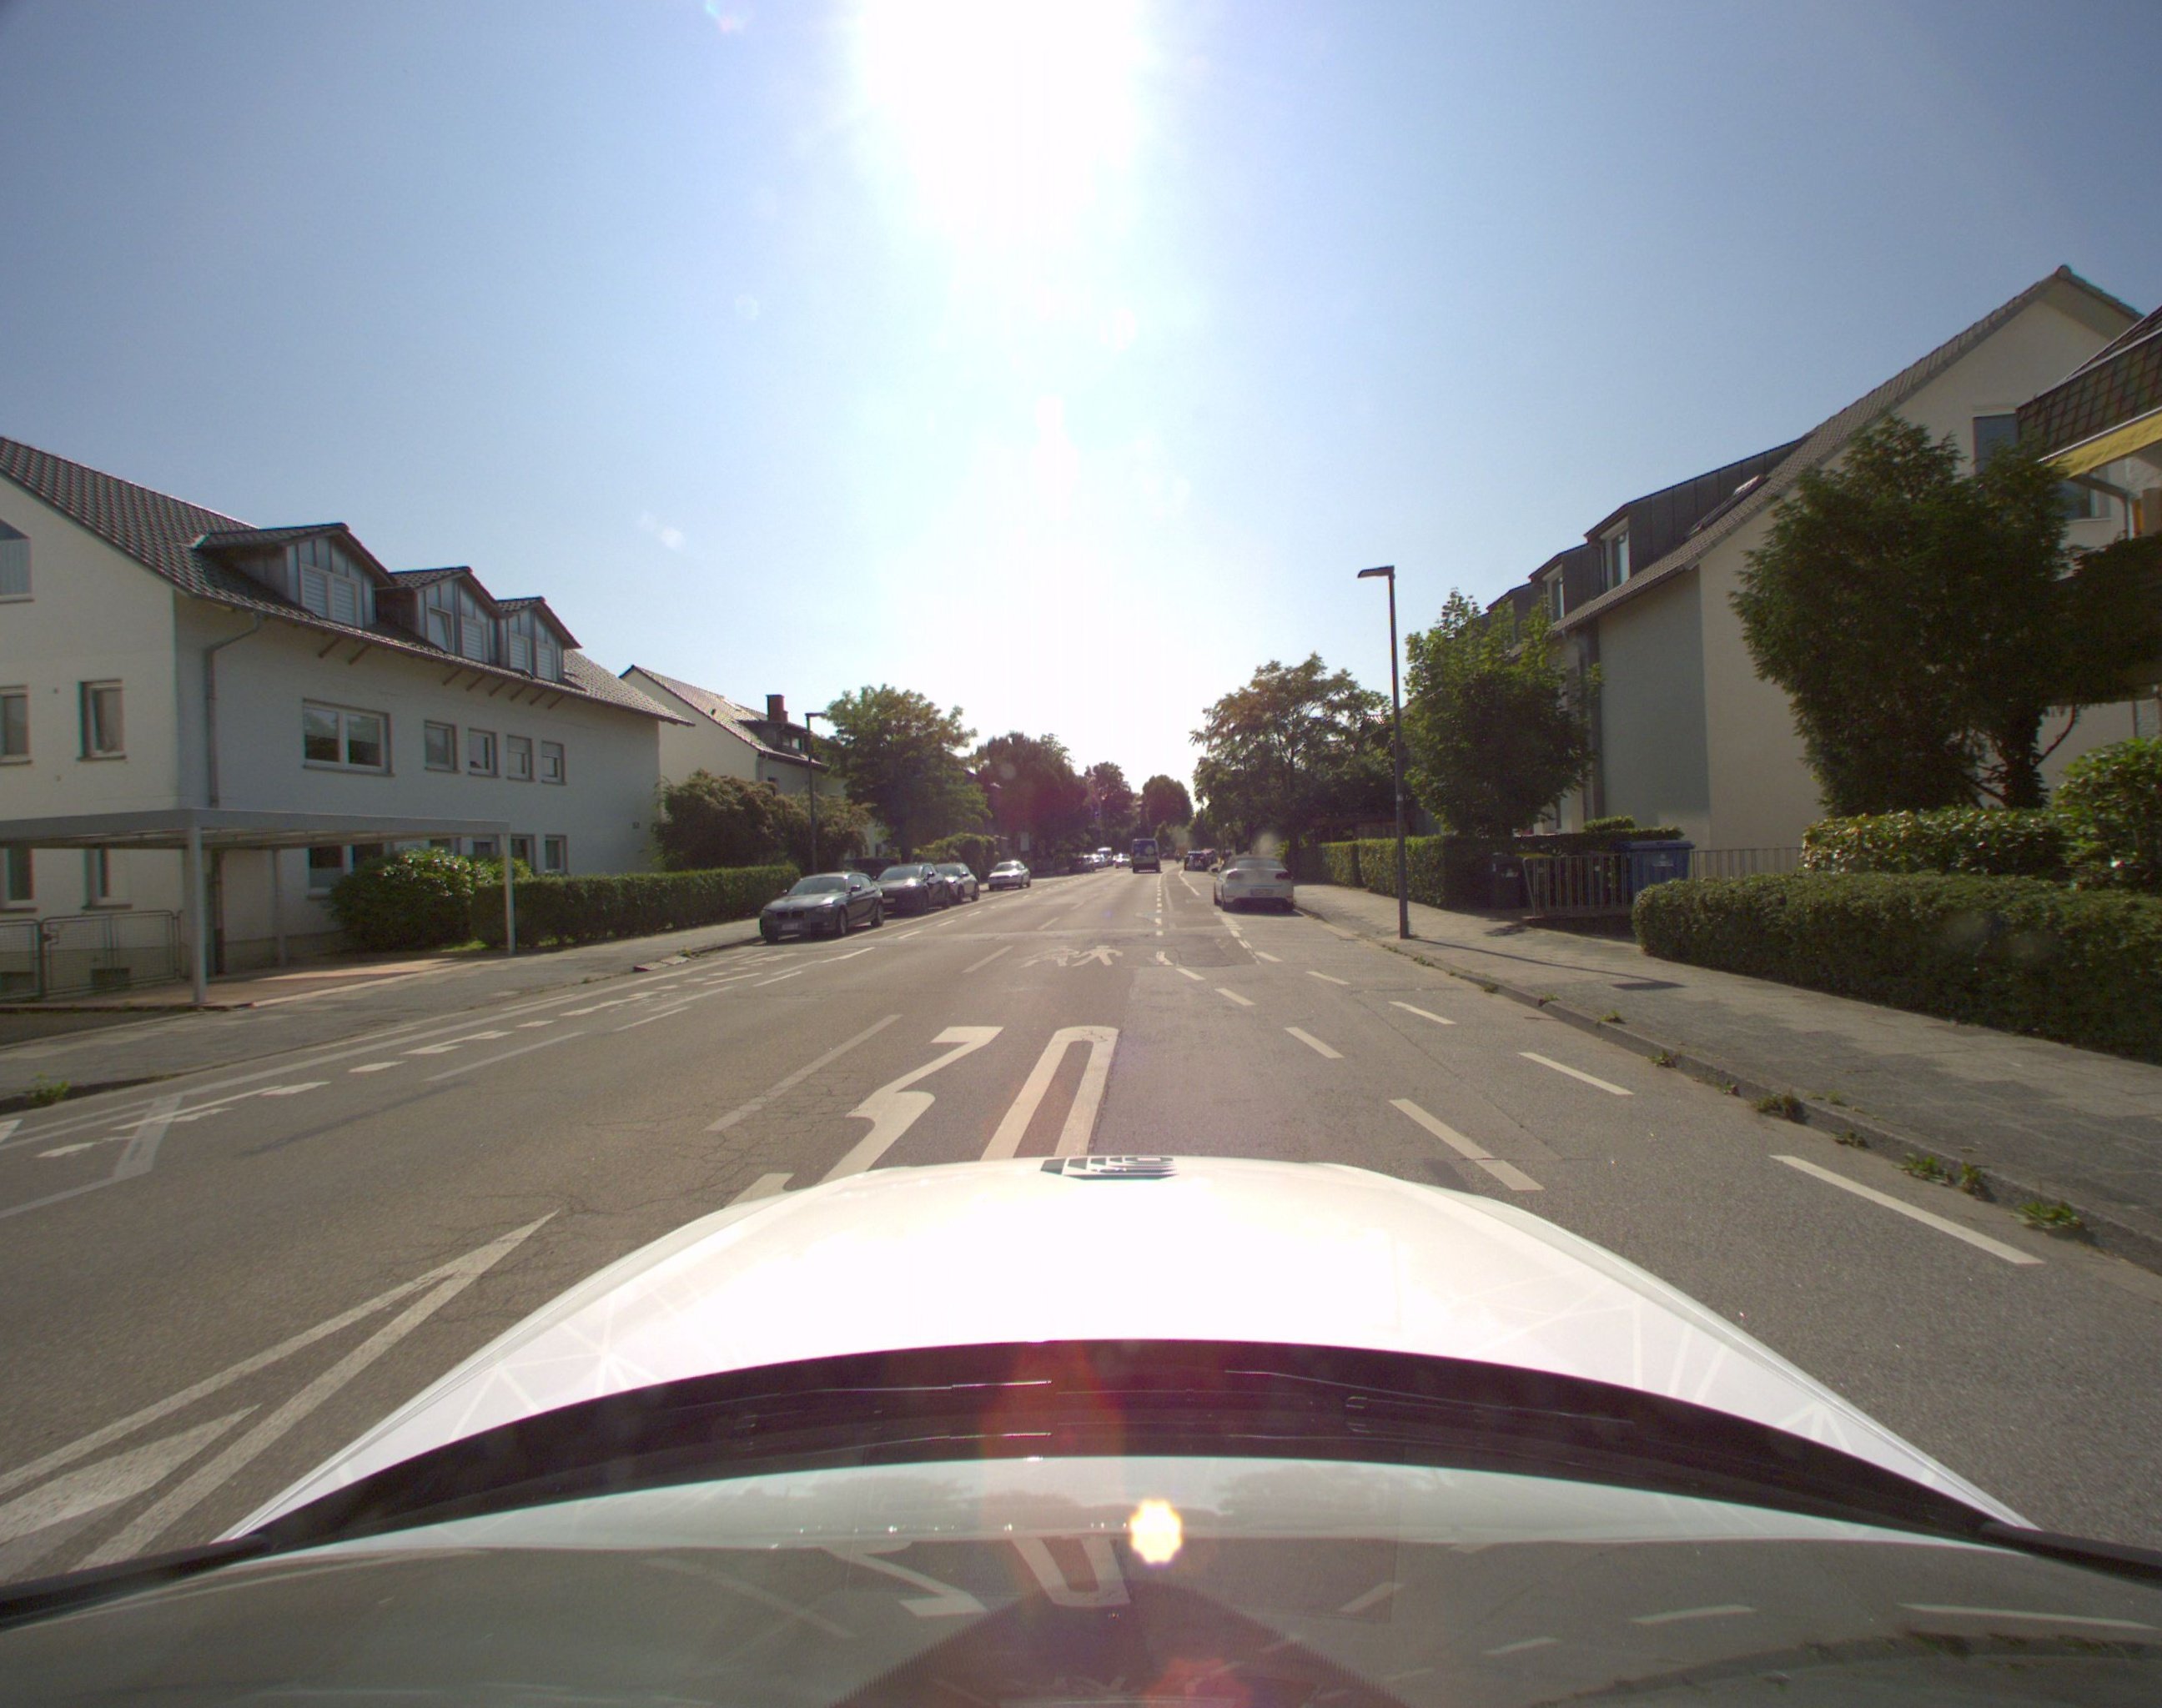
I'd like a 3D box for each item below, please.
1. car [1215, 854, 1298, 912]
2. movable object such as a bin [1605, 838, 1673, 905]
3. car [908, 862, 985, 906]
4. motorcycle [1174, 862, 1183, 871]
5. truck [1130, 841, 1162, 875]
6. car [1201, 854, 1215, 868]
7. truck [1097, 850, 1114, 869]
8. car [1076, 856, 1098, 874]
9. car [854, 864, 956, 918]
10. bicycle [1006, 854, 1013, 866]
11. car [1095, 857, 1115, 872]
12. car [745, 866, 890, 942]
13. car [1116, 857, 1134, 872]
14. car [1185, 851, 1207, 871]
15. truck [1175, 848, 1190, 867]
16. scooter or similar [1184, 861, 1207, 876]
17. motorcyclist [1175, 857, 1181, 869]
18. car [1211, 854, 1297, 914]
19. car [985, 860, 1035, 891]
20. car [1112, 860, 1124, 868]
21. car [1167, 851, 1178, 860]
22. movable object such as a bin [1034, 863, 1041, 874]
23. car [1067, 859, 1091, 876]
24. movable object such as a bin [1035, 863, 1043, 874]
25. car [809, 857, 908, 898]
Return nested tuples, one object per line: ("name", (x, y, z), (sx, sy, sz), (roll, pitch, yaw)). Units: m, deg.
("car", (4.501, 0.696, 21.381), (1.844, 1.371, 4.009), (0, 0, 8))
("movable object such as a bin", (10.843, 0.343, 15.850), (0.743, 1.243, 0.794), (-2, 0, 1))
("car", (-4.933, 1.060, 30.425), (1.776, 1.440, 4.007), (-2, 0, 6))
("motorcycle", (12.599, 1.582, 105.611), (1.051, 1.122, 2.997), (-2, -1, 6))
("truck", (5.191, 0.327, 64.351), (2.260, 2.571, 4.400), (-2, -1, 7))
("car", (16.041, 0.834, 102.827), (1.690, 1.677, 3.784), (-2, -1, 9))
("truck", (3.437, 0.768, 111.668), (2.072, 2.537, 5.471), (-2, 0, 3))
("car", (0.631, 1.072, 82.412), (1.900, 1.677, 4.263), (-4, -1, 4))
("car", (-5.364, 1.085, 25.407), (1.776, 1.440, 4.118), (-3, -1, 7))
("bicycle", (-7.278, 0.577, 83.366), (0.535, 1.181, 1.446), (-2, 1, 1))
("car", (2.786, 1.210, 93.525), (1.825, 1.595, 3.782), (-2, -1, 7))
("car", (-5.990, 1.074, 19.049), (1.778, 1.440, 4.157), (-3, -1, 3))
("car", (4.815, 1.144, 89.218), (1.724, 1.541, 4.005), (-3, -1, 4))
("car", (9.778, 0.547, 69.162), (1.774, 1.638, 4.482), (0, 0, 9))
("truck", (16.152, 0.598, 129.908), (2.203, 2.946, 5.694), (-2, -1, 6))
("scooter or similar", (9.320, 1.211, 66.468), (0.723, 1.154, 1.776), (2, 0, -39))
("motorcyclist", (12.624, 1.119, 105.654), (0.669, 1.519, 0.653), (-2, -1, 5))
("car", (4.443, 0.716, 21.462), (1.732, 1.402, 4.079), (1, 0, 5))
("car", (-3.634, 1.076, 42.307), (1.776, 1.440, 4.007), (-2, 0, 6))
("car", (5.970, 1.622, 132.017), (1.746, 1.343, 3.658), (-2, 0, 4))
("car", (17.040, 0.245, 151.393), (1.983, 1.657, 4.613), (-2, -1, 7))
("movable object such as a bin", (-4.200, 1.390, 78.642), (0.540, 1.111, 0.520), (-2, -1, 11))
("car", (-0.183, 1.250, 76.666), (1.772, 1.460, 4.091), (-4, -1, 5))
("movable object such as a bin", (-4.087, 1.424, 79.249), (0.540, 1.111, 0.586), (-2, -1, 11))
("car", (-10.440, 1.068, 38.317), (3.967, 1.759, 2.003), (-2, 0, 6))
